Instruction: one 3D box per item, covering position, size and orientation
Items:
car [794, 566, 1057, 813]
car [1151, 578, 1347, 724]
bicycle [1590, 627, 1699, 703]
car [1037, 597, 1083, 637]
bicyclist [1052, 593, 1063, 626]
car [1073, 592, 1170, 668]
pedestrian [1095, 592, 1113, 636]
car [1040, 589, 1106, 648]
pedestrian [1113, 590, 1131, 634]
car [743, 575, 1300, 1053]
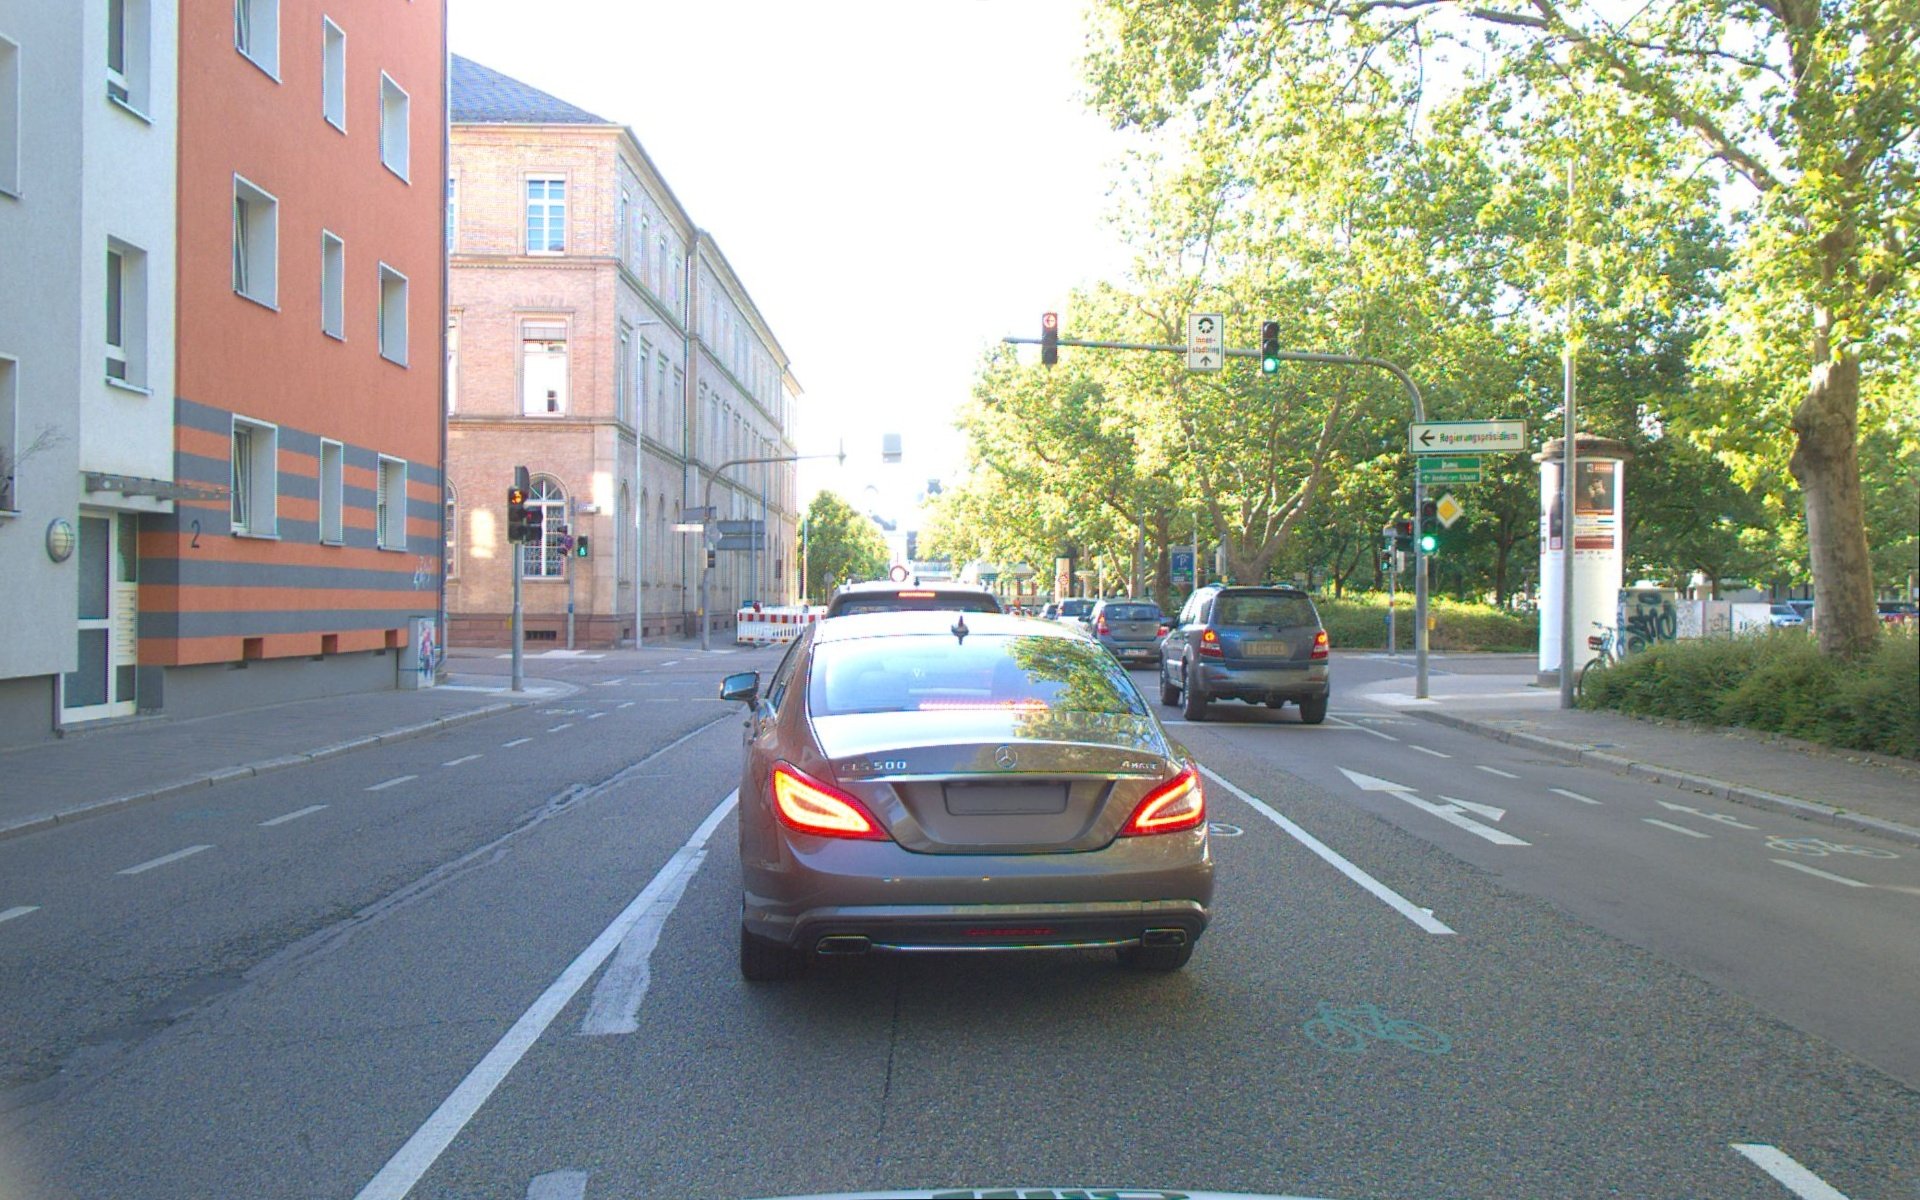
[{"bbox_3d":[-0.268,0.622,13.585,1.823,1.712,3.999,1,0,-1],"label":"car"},{"bbox_3d":[3.835,0.624,22.685,1.823,1.794,4.481,1,0,-1],"label":"car"},{"bbox_3d":[9.872,0.924,23.831,1.868,1.046,0.633,1,-1,-39],"label":"bicycle"},{"bbox_3d":[4.032,0.676,67.145,1.568,1.576,3.680,1,0,-1],"label":"car"},{"bbox_3d":[6.192,0.612,105.078,0.583,2.075,0.565,1,-1,-5],"label":"bicyclist"},{"bbox_3d":[3.497,0.618,36.318,1.670,1.545,3.999,1,0,-1],"label":"car"},{"bbox_3d":[5.961,0.571,68.650,0.623,1.828,0.698,1,-1,-5],"label":"pedestrian"},{"bbox_3d":[3.395,0.538,50.171,1.696,1.691,3.680,1,0,-1],"label":"car"},{"bbox_3d":[6.720,0.500,68.752,0.623,1.791,0.698,1,-1,-5],"label":"pedestrian"},{"bbox_3d":[-0.031,0.692,7.457,1.826,1.545,3.993,1,0,-8],"label":"car"}]
